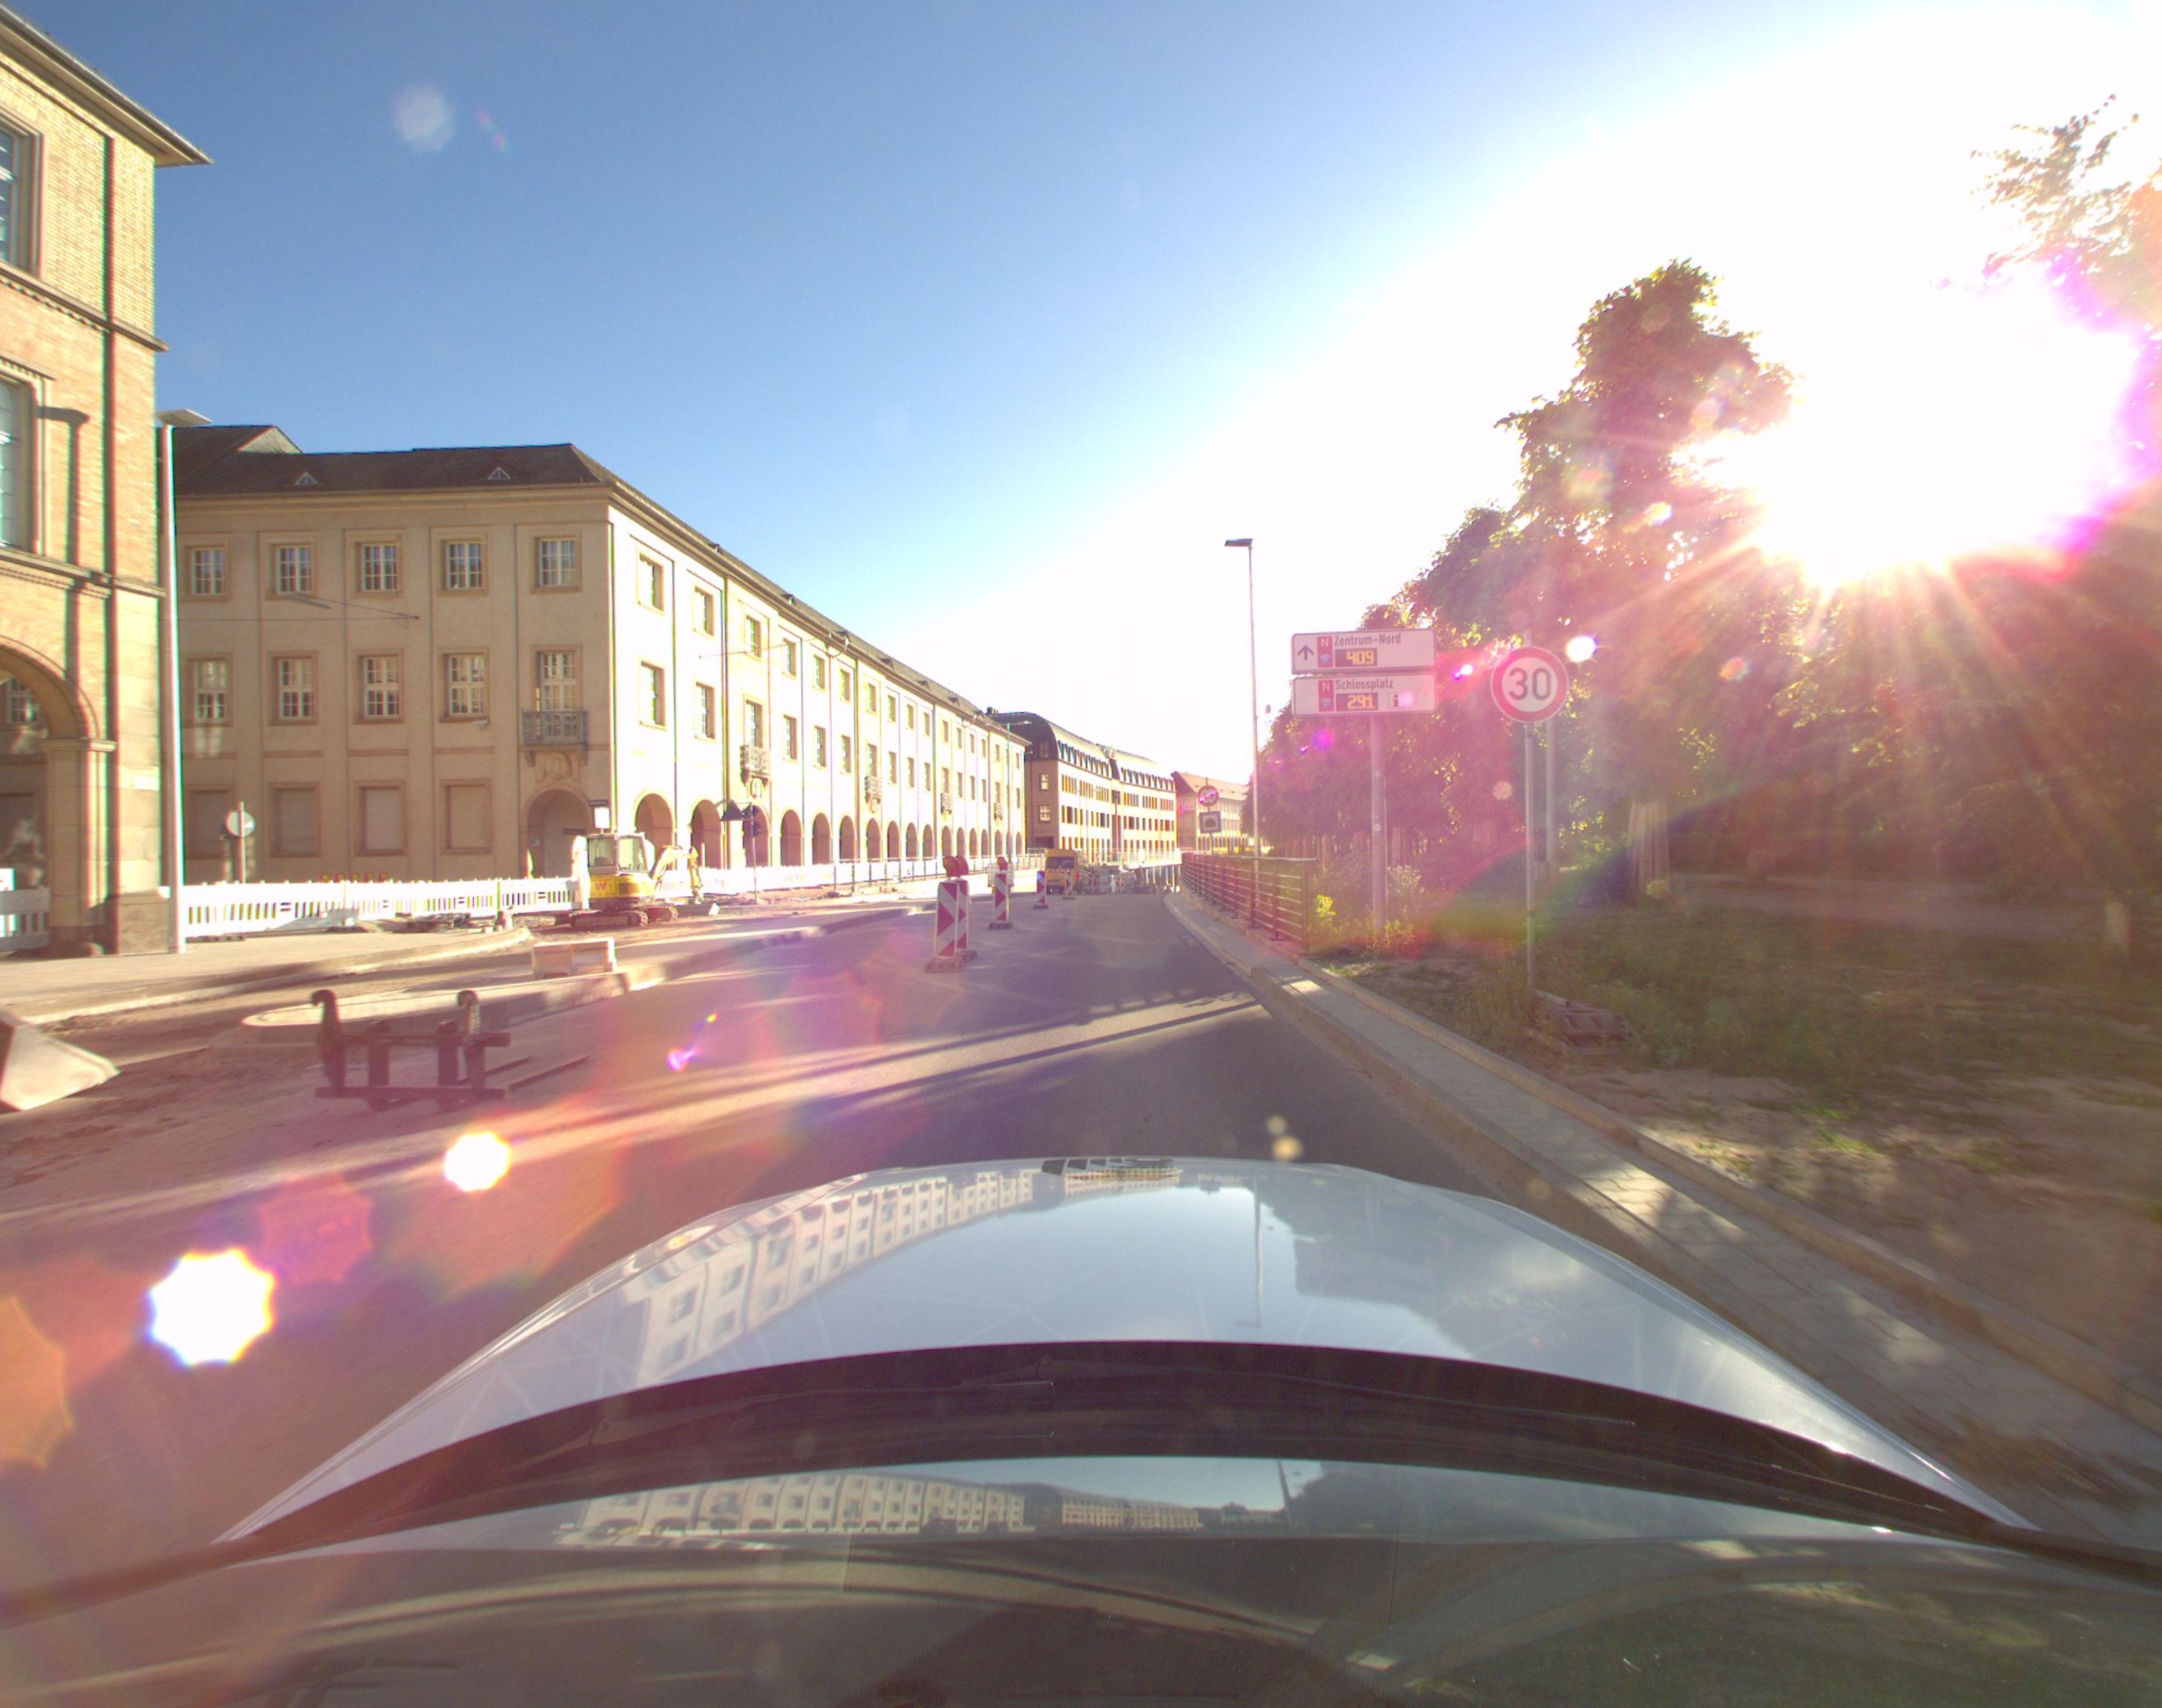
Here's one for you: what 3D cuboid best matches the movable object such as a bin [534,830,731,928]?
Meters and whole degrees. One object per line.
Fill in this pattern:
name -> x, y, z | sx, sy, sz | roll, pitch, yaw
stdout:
movable object such as a bin -> -11.990, 0.614, 22.242 | 2.533, 2.348, 4.467 | -1, 0, 6

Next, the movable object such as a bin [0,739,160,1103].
movable object such as a bin -> -8.419, 0.503, 4.150 | 2.067, 2.475, 4.618 | -1, 1, 1

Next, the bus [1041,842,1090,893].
bus -> -0.829, 0.810, 46.557 | 2.061, 2.687, 4.692 | -1, -2, 7
